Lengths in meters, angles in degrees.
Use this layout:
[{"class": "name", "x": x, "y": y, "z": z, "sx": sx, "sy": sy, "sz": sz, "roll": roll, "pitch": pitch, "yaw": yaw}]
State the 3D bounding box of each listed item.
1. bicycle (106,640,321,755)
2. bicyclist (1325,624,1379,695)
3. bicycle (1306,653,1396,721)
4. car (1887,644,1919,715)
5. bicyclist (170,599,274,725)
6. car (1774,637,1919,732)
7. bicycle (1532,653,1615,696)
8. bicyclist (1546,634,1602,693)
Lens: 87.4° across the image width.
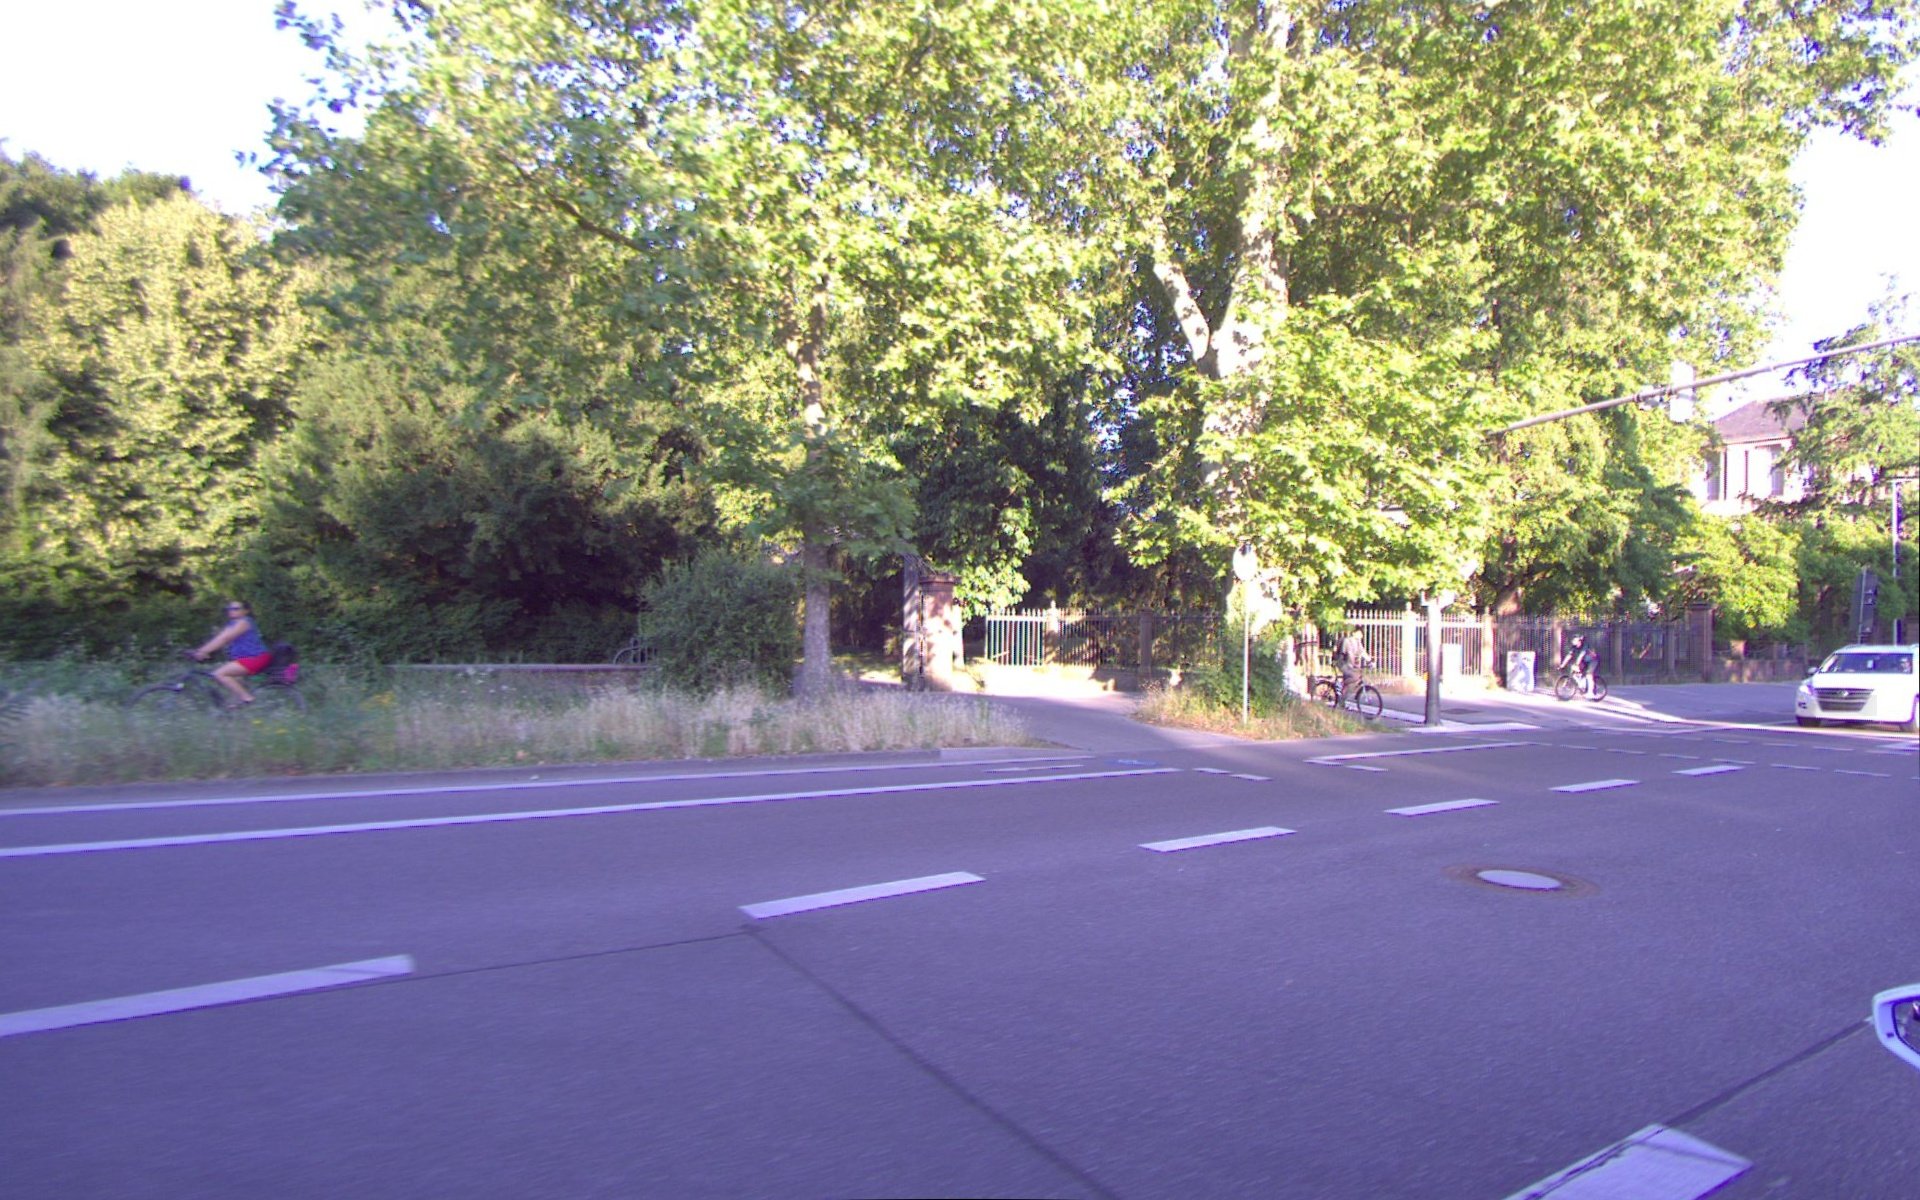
[{"class": "bicycle", "x": -8.893, "y": 1.134, "z": 12.092, "sx": 1.956, "sy": 1.273, "sz": 0.785, "roll": 2, "pitch": -1, "yaw": -30}, {"class": "bicyclist", "x": 7.851, "y": 1.185, "z": 20.138, "sx": 0.568, "sy": 1.379, "sz": 0.829, "roll": 2, "pitch": -1, "yaw": -40}, {"class": "bicycle", "x": 7.824, "y": 1.716, "z": 20.149, "sx": 0.568, "sy": 1.245, "sz": 1.613, "roll": 2, "pitch": -2, "yaw": -40}, {"class": "car", "x": 23.784, "y": 1.839, "z": 23.614, "sx": 4.626, "sy": 1.604, "sz": 1.905, "roll": 2, "pitch": -3, "yaw": -34}, {"class": "bicyclist", "x": -8.865, "y": 0.733, "z": 12.109, "sx": 0.881, "sy": 1.446, "sz": 0.785, "roll": 2, "pitch": -1, "yaw": -30}, {"class": "car", "x": 18.534, "y": 1.652, "z": 20.405, "sx": 4.381, "sy": 1.717, "sz": 1.905, "roll": 2, "pitch": -3, "yaw": -34}, {"class": "bicycle", "x": 15.440, "y": 1.860, "z": 25.268, "sx": 2.172, "sy": 1.029, "sz": 0.851, "roll": 2, "pitch": -1, "yaw": -30}, {"class": "bicyclist", "x": 15.467, "y": 1.583, "z": 25.304, "sx": 0.932, "sy": 1.450, "sz": 0.851, "roll": 2, "pitch": -1, "yaw": -29}]
